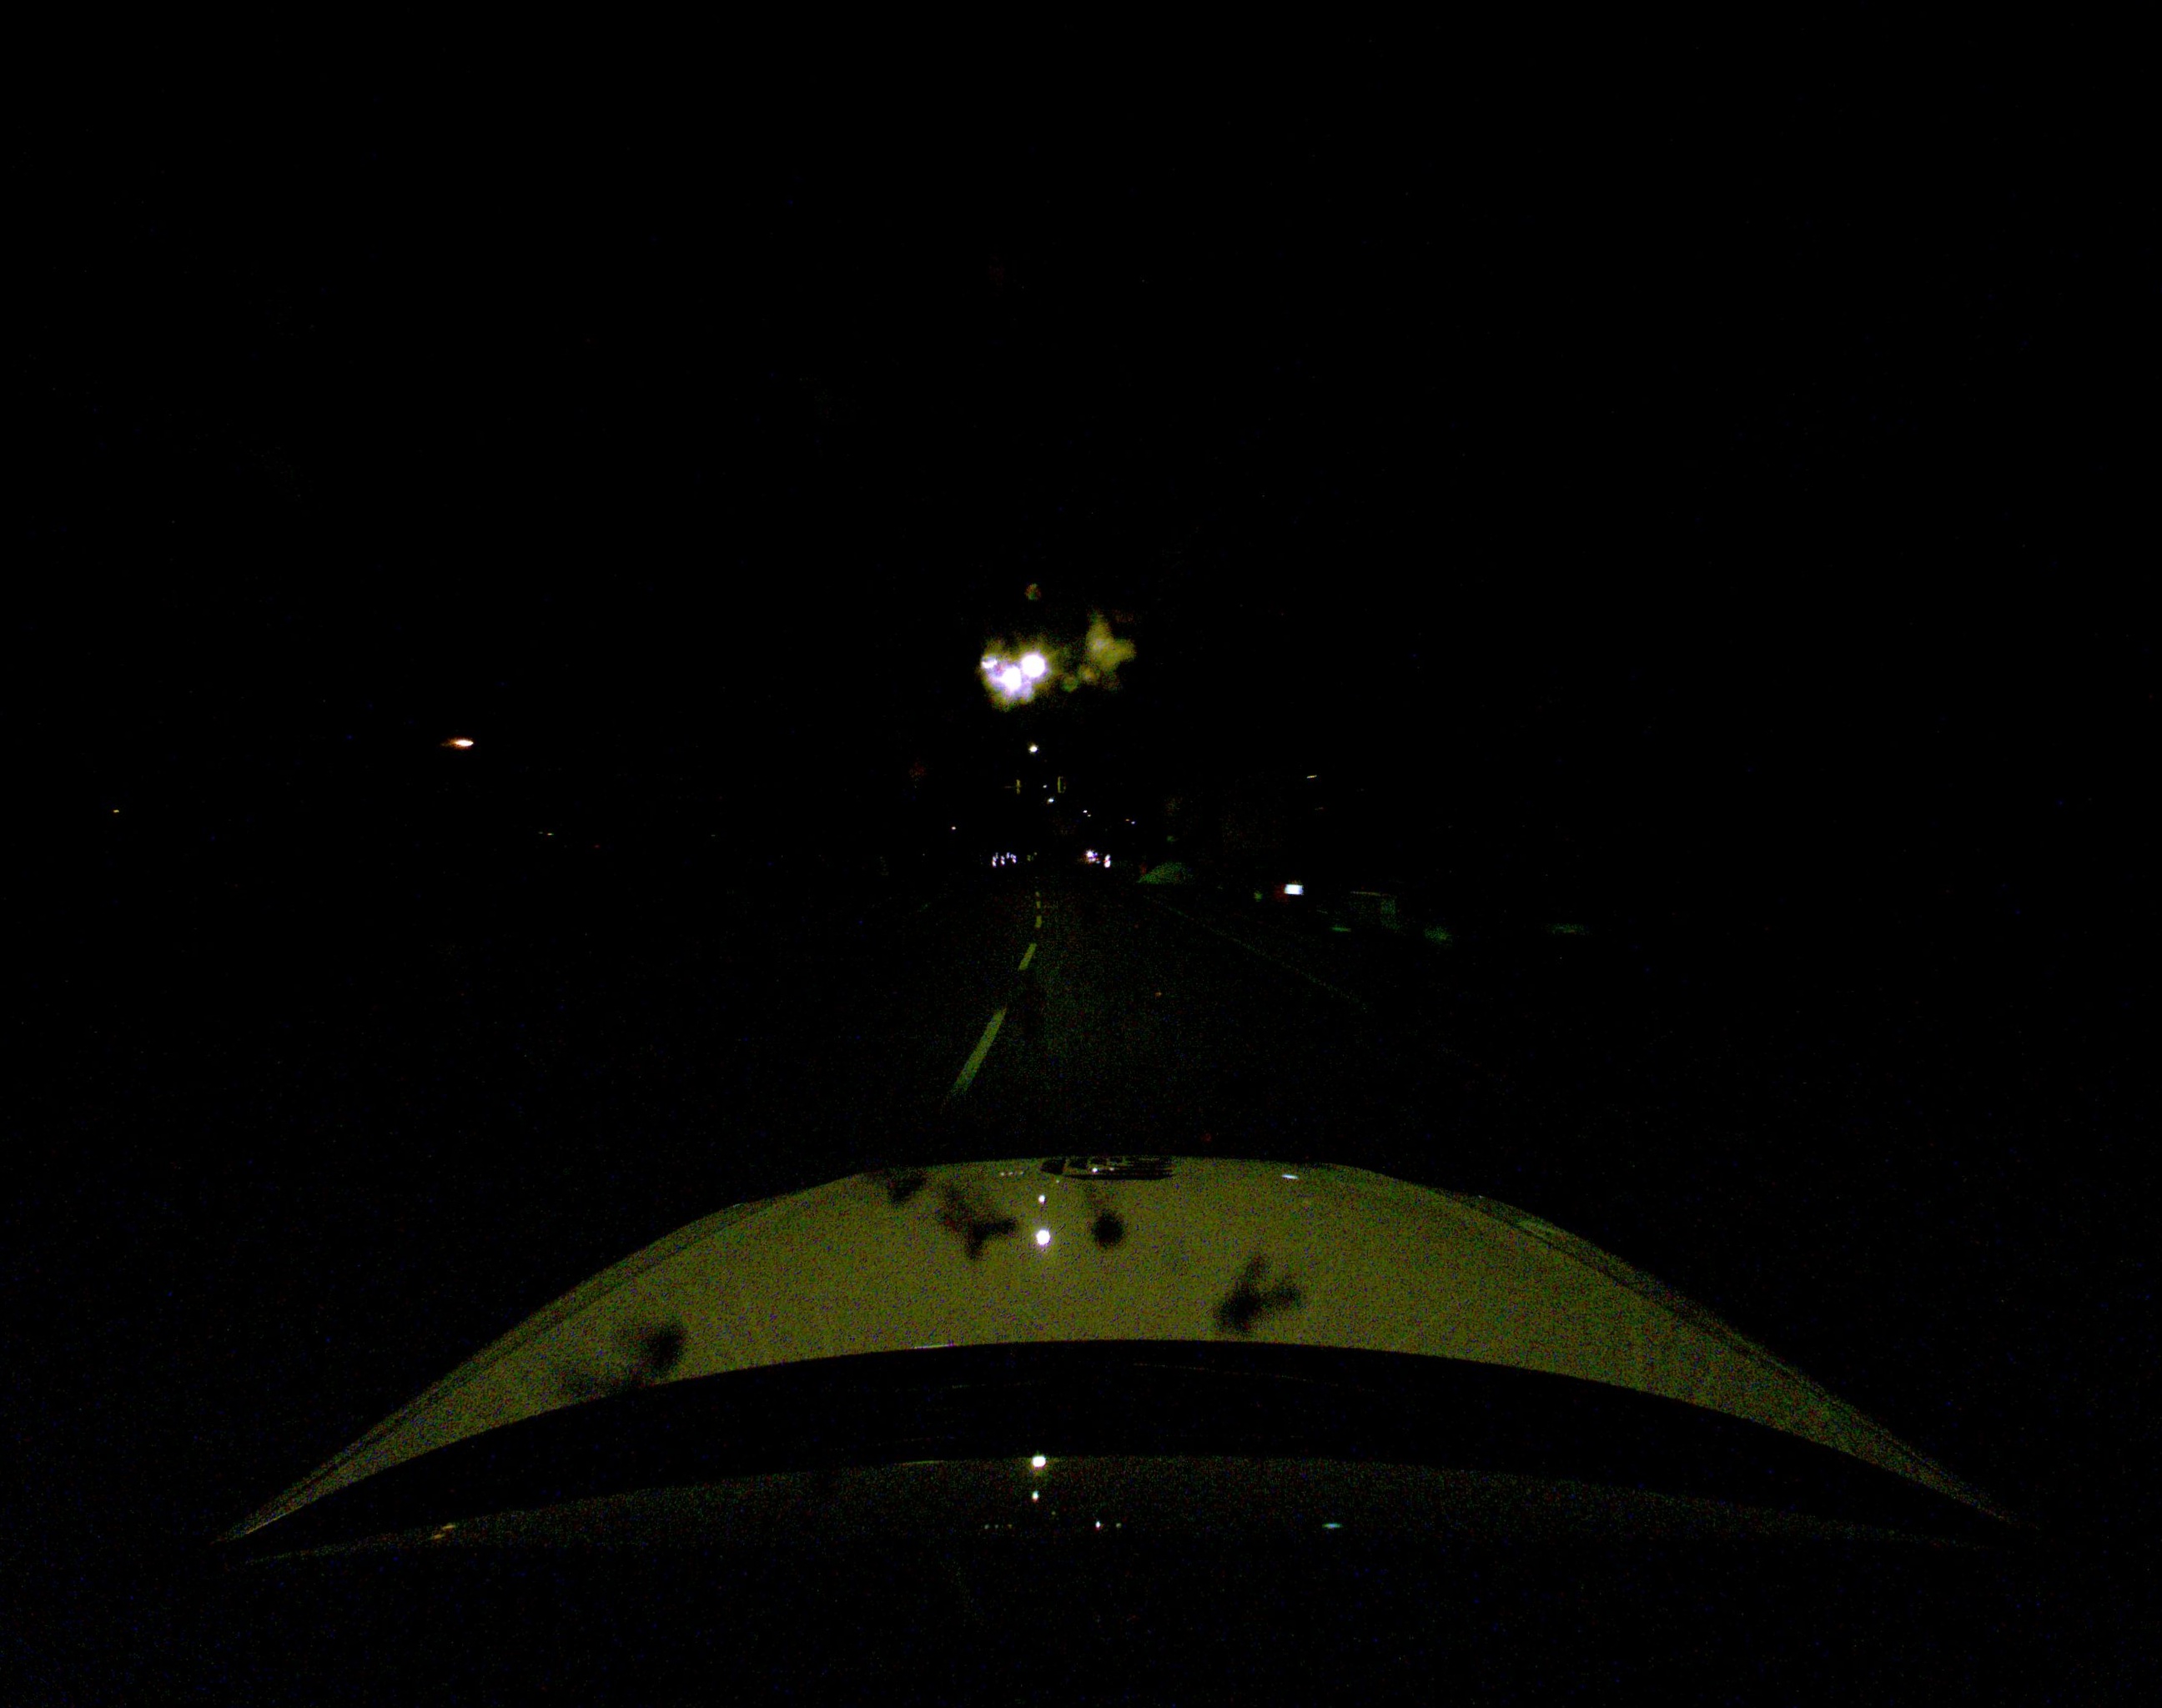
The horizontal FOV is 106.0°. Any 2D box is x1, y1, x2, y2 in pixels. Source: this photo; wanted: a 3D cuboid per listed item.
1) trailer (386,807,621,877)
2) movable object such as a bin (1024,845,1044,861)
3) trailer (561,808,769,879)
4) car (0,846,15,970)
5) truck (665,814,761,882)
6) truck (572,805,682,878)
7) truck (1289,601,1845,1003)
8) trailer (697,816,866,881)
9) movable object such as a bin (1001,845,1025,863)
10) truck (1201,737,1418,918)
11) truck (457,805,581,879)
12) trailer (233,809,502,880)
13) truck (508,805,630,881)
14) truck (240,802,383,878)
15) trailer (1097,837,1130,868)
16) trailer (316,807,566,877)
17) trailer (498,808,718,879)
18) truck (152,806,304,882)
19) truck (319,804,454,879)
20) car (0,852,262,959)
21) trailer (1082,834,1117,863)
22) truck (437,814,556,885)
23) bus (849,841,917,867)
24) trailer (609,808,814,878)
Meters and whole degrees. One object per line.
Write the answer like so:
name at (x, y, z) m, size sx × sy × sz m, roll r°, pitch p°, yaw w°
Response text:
trailer at (-40.618, -0.770, 58.654) m, size 3.035 × 4.357 × 15.067 m, roll 0°, pitch 0°, yaw 16°
movable object such as a bin at (-7.312, -0.135, 127.509) m, size 1.981 × 2.376 × 4.716 m, roll -2°, pitch 0°, yaw 11°
trailer at (-28.484, -0.669, 57.420) m, size 3.033 × 4.357 × 15.076 m, roll 0°, pitch 0°, yaw 19°
car at (-15.857, 0.714, 9.650) m, size 4.115 × 1.579 × 1.843 m, roll -1°, pitch 0°, yaw 2°
truck at (-22.016, -0.358, 48.963) m, size 3.036 × 3.932 × 4.520 m, roll 0°, pitch 0°, yaw 13°
truck at (-27.290, -0.701, 49.170) m, size 3.032 × 4.148 × 4.961 m, roll 0°, pitch 0°, yaw 21°
truck at (5.823, -0.499, 12.335) m, size 2.747 × 3.783 × 9.132 m, roll -1°, pitch 0°, yaw -1°
trailer at (-20.100, -0.350, 56.625) m, size 3.036 × 3.932 × 15.059 m, roll 0°, pitch 0°, yaw 14°
movable object such as a bin at (-9.567, -0.083, 114.835) m, size 1.981 × 2.376 × 4.716 m, roll -2°, pitch 1°, yaw 11°
truck at (5.591, -0.550, 22.340) m, size 2.748 × 3.783 × 10.218 m, roll -1°, pitch 0°, yaw -2°
truck at (-34.902, -0.704, 50.801) m, size 3.033 × 4.357 × 5.593 m, roll 0°, pitch 0°, yaw 19°
trailer at (-49.698, -0.612, 57.989) m, size 3.035 × 4.357 × 15.067 m, roll 0°, pitch 0°, yaw 16°
truck at (-31.165, -0.622, 49.787) m, size 3.033 × 4.357 × 5.593 m, roll 0°, pitch 0°, yaw 19°
truck at (-47.291, -0.831, 50.285) m, size 3.035 × 4.357 × 5.590 m, roll 0°, pitch 0°, yaw 16°
trailer at (3.046, -0.102, 77.794) m, size 2.609 × 2.846 × 4.701 m, roll 0°, pitch -1°, yaw -5°
trailer at (-44.906, -0.793, 58.478) m, size 3.035 × 4.357 × 15.067 m, roll 0°, pitch 0°, yaw 16°
trailer at (-32.543, -0.681, 57.553) m, size 3.033 × 4.357 × 15.075 m, roll 0°, pitch 0°, yaw 19°
truck at (-52.057, -0.571, 49.916) m, size 3.035 × 4.357 × 5.590 m, roll 0°, pitch 0°, yaw 16°
truck at (-42.971, -0.749, 50.616) m, size 3.035 × 4.357 × 5.590 m, roll 0°, pitch 0°, yaw 16°
car at (-15.500, 0.728, 12.269) m, size 4.427 × 1.452 × 2.064 m, roll -1°, pitch 0°, yaw 5°
trailer at (2.084, -0.589, 92.603) m, size 3.476 × 3.219 × 4.856 m, roll 0°, pitch -1°, yaw -5°
truck at (-37.948, -0.269, 53.090) m, size 3.035 × 4.357 × 5.590 m, roll 0°, pitch 0°, yaw 16°
bus at (-26.573, -0.086, 110.357) m, size 2.989 × 3.204 × 12.727 m, roll -1°, pitch 1°, yaw 16°
trailer at (-24.664, -0.669, 56.151) m, size 3.032 × 4.148 × 15.079 m, roll 0°, pitch 0°, yaw 21°
